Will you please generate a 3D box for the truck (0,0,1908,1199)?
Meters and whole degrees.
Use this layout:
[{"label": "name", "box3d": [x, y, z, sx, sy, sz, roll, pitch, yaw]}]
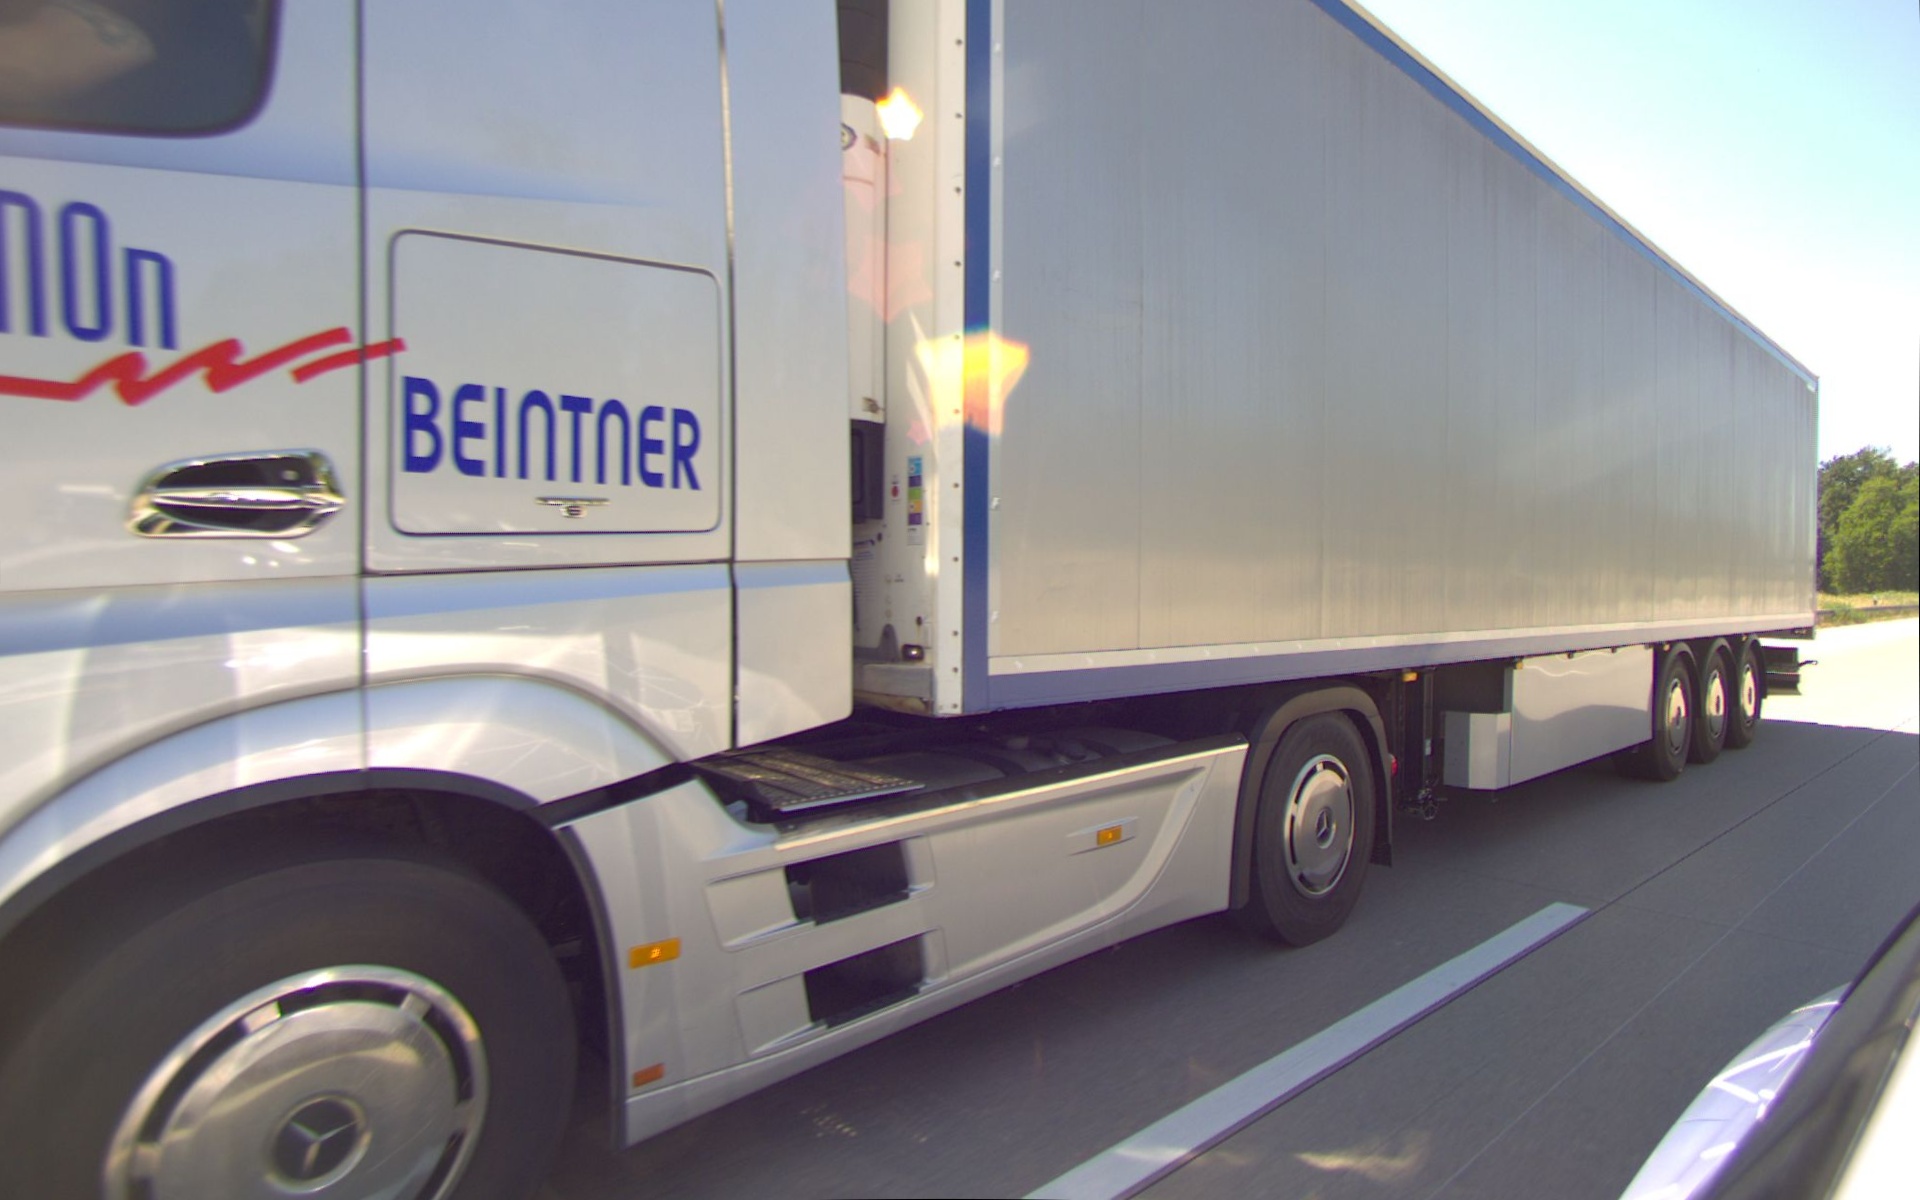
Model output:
[{"label": "truck", "box3d": [3.826, -1.534, 8.242, 17.926, 5.863, 3.582, 0, -3, -41]}]
